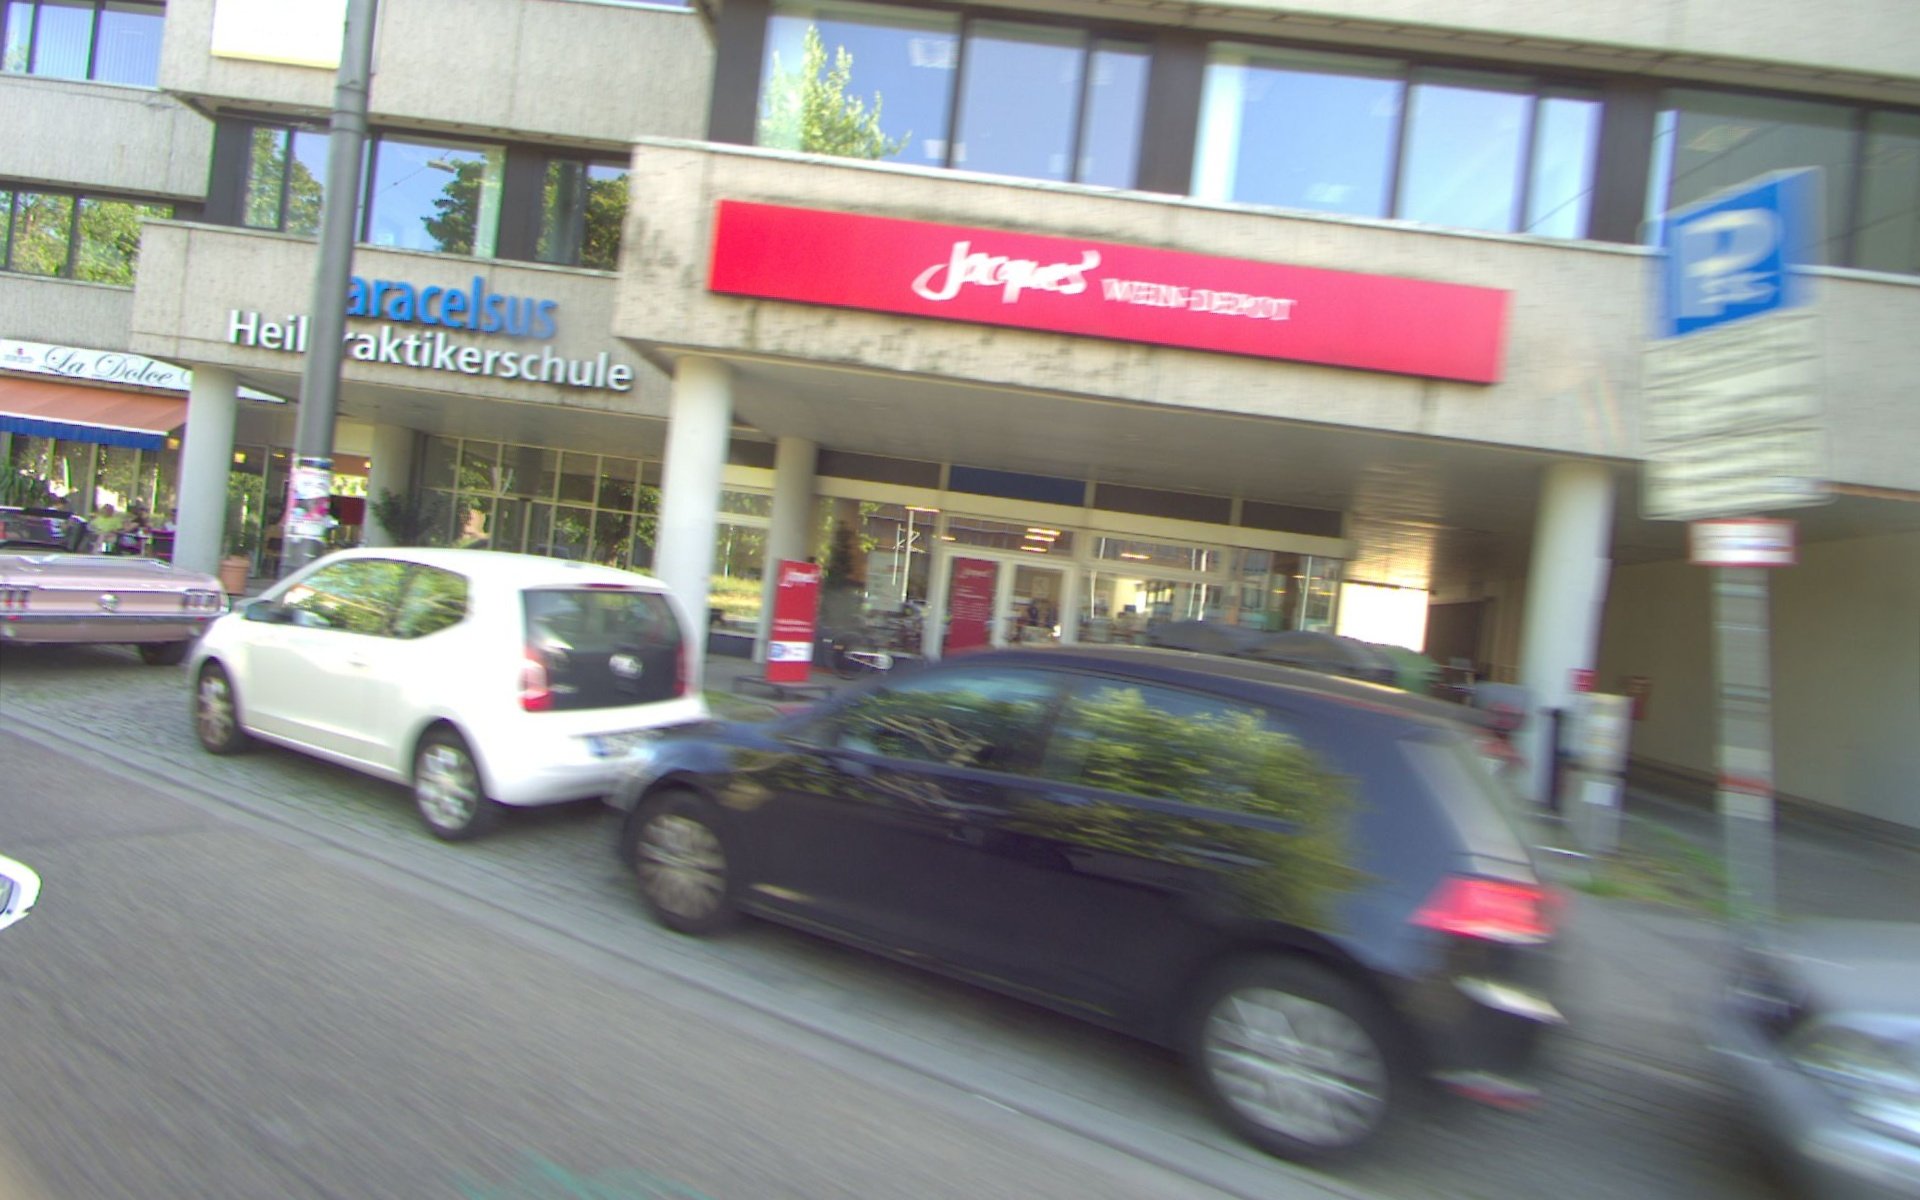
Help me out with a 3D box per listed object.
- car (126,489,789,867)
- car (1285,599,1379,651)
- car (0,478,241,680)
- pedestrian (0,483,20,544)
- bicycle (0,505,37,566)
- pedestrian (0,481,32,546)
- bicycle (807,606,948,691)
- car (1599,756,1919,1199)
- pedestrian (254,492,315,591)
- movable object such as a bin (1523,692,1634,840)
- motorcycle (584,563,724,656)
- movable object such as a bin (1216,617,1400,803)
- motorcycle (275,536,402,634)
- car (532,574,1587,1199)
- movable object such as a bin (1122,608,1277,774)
[{"bbox_3d":[-3.288,0.359,6.550,3.800,1.708,1.856,5,-2,28],"label":"car"},{"bbox_3d":[13.549,0.968,36.909,1.962,1.604,4.005,6,-2,3],"label":"car"},{"bbox_3d":[-8.864,-0.292,9.288,4.651,1.470,1.778,5,-2,30],"label":"car"},{"bbox_3d":[-21.480,-1.959,22.111,0.815,1.309,0.844,6,1,16],"label":"pedestrian"},{"bbox_3d":[-18.053,-1.244,18.828,1.616,1.046,0.564,5,-2,29],"label":"bicycle"},{"bbox_3d":[-22.308,-2.048,23.244,0.739,1.418,0.844,8,-1,-2],"label":"pedestrian"},{"bbox_3d":[-1.201,0.720,14.768,1.837,0.992,0.677,9,-1,-28],"label":"bicycle"},{"bbox_3d":[4.289,1.430,2.335,4.522,1.359,1.856,5,-2,30],"label":"car"},{"bbox_3d":[-13.447,-1.143,20.057,0.696,1.837,0.713,7,-1,-23],"label":"pedestrian"},{"bbox_3d":[5.459,1.440,8.877,0.711,1.147,0.744,5,-2,34],"label":"movable object such as a bin"},{"bbox_3d":[-4.877,0.151,16.028,2.062,1.182,0.513,8,-1,17],"label":"motorcycle"},{"bbox_3d":[3.128,0.961,8.974,1.104,1.414,1.337,5,-2,36],"label":"movable object such as a bin"},{"bbox_3d":[-8.397,-0.220,13.560,2.017,1.170,0.763,5,1,38],"label":"motorcycle"},{"bbox_3d":[0.236,0.879,4.451,4.129,1.536,1.675,5,-2,31],"label":"car"},{"bbox_3d":[2.388,0.897,9.952,0.944,1.450,1.301,5,-2,36],"label":"movable object such as a bin"}]
